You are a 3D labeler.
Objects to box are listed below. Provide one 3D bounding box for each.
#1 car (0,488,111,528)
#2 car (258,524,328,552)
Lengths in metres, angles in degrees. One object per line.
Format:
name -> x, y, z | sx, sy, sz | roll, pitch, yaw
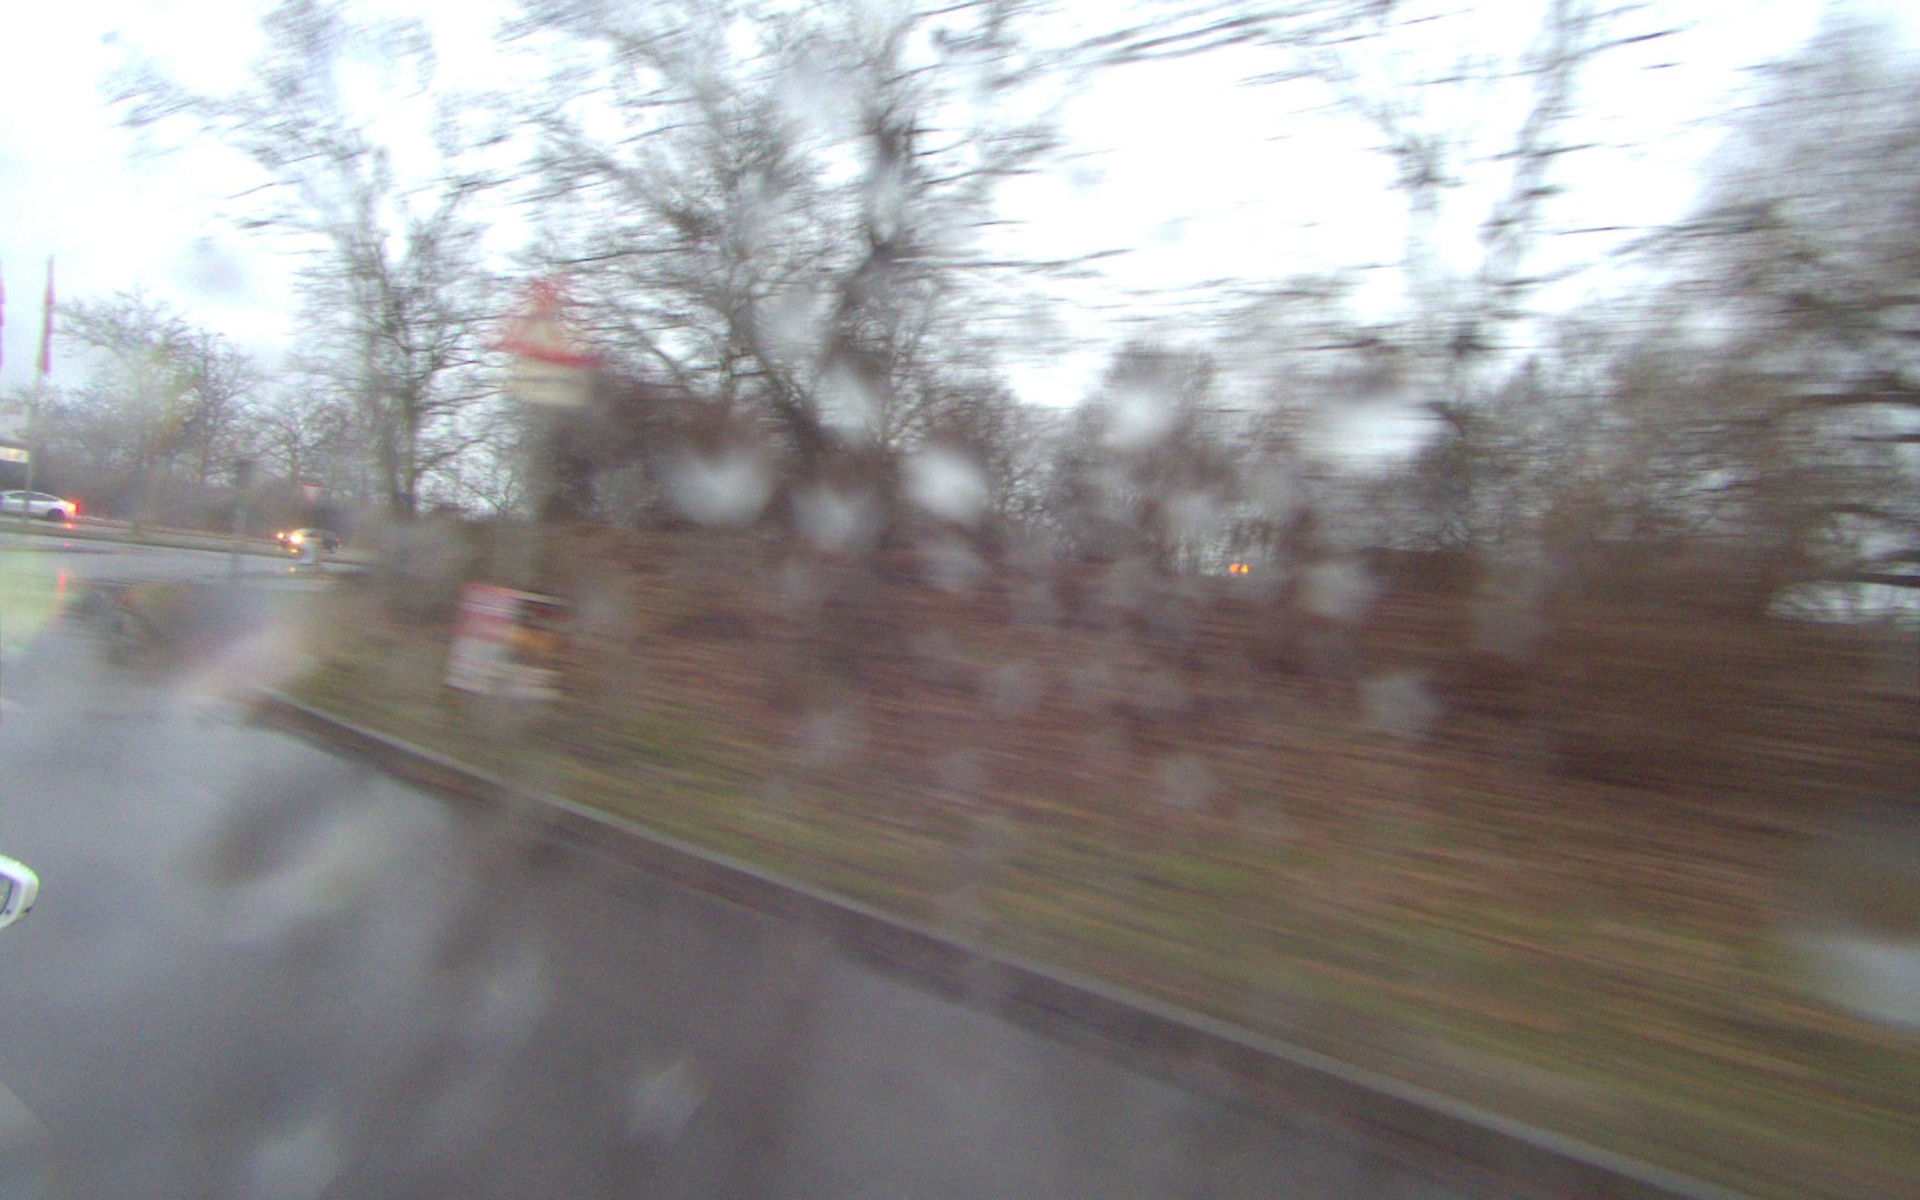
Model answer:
car -> -48.547, -4.911, 53.552 | 1.853, 1.392, 4.744 | 7, -1, 34
car -> -44.675, -4.112, 67.501 | 1.606, 1.325, 4.003 | 7, -1, 6
